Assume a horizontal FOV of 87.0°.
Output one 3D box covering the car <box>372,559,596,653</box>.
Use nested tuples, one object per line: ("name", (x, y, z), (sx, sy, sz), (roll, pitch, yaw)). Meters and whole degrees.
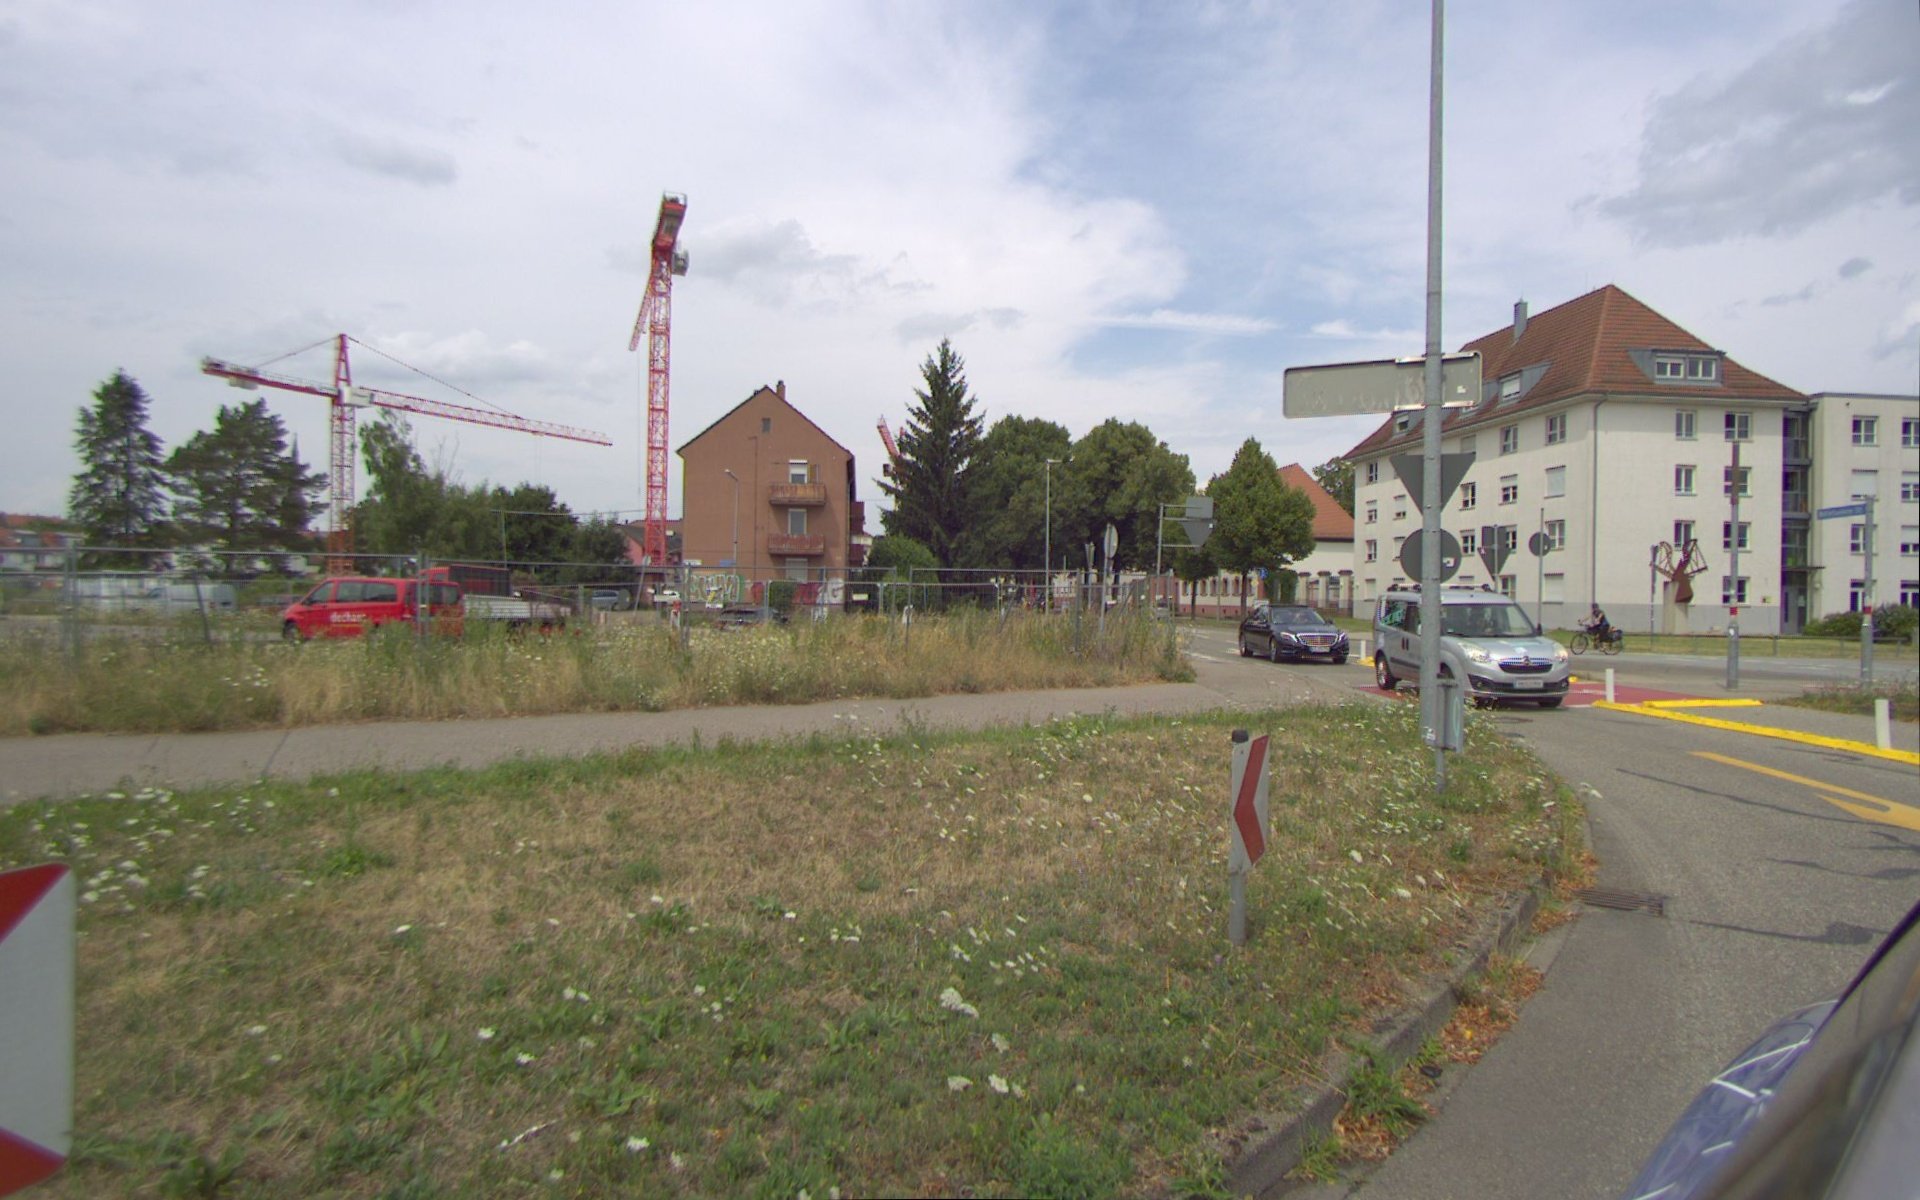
("car", (-13.607, 0.106, 28.831), (6.478, 2.443, 2.297), (1, 0, 27))

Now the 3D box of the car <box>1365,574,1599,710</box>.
("car", (8.574, 0.596, 17.142), (1.778, 1.972, 4.580), (1, 0, 3))

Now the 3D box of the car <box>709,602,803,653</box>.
("car", (-6.611, 0.847, 33.190), (1.737, 1.492, 4.250), (1, 0, 8))

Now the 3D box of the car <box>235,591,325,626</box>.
("car", (-35.745, 0.409, 53.225), (3.957, 1.771, 1.848), (1, 0, 16))

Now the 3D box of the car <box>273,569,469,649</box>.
("car", (-15.328, 0.231, 26.299), (4.937, 1.935, 1.919), (1, -2, 26))

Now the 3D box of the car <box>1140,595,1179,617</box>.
("car", (14.105, 0.410, 71.811), (1.596, 1.538, 4.222), (1, 0, -4))

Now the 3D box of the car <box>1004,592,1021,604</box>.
("car", (7.204, -0.293, 138.627), (1.766, 1.643, 4.750), (1, 0, -3))

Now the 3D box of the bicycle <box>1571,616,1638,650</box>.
("bicycle", (21.381, 1.088, 33.575), (1.795, 1.059, 0.602), (1, 0, 2))

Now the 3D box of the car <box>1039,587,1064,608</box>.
("car", (10.336, -0.240, 114.899), (1.960, 2.301, 5.165), (1, 0, -5))

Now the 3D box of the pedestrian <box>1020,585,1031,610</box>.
("pedestrian", (5.450, -0.201, 84.168), (0.840, 2.039, 0.732), (1, 0, 0))

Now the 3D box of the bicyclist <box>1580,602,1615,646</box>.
("bicyclist", (21.151, 0.800, 33.576), (0.788, 1.441, 0.602), (1, 0, 2))

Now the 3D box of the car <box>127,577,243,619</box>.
("car", (-41.358, -0.113, 54.042), (4.827, 2.163, 2.143), (1, 0, 8))

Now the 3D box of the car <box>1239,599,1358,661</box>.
("car", (9.072, 0.760, 27.556), (1.785, 1.523, 4.865), (0, 0, 3))
